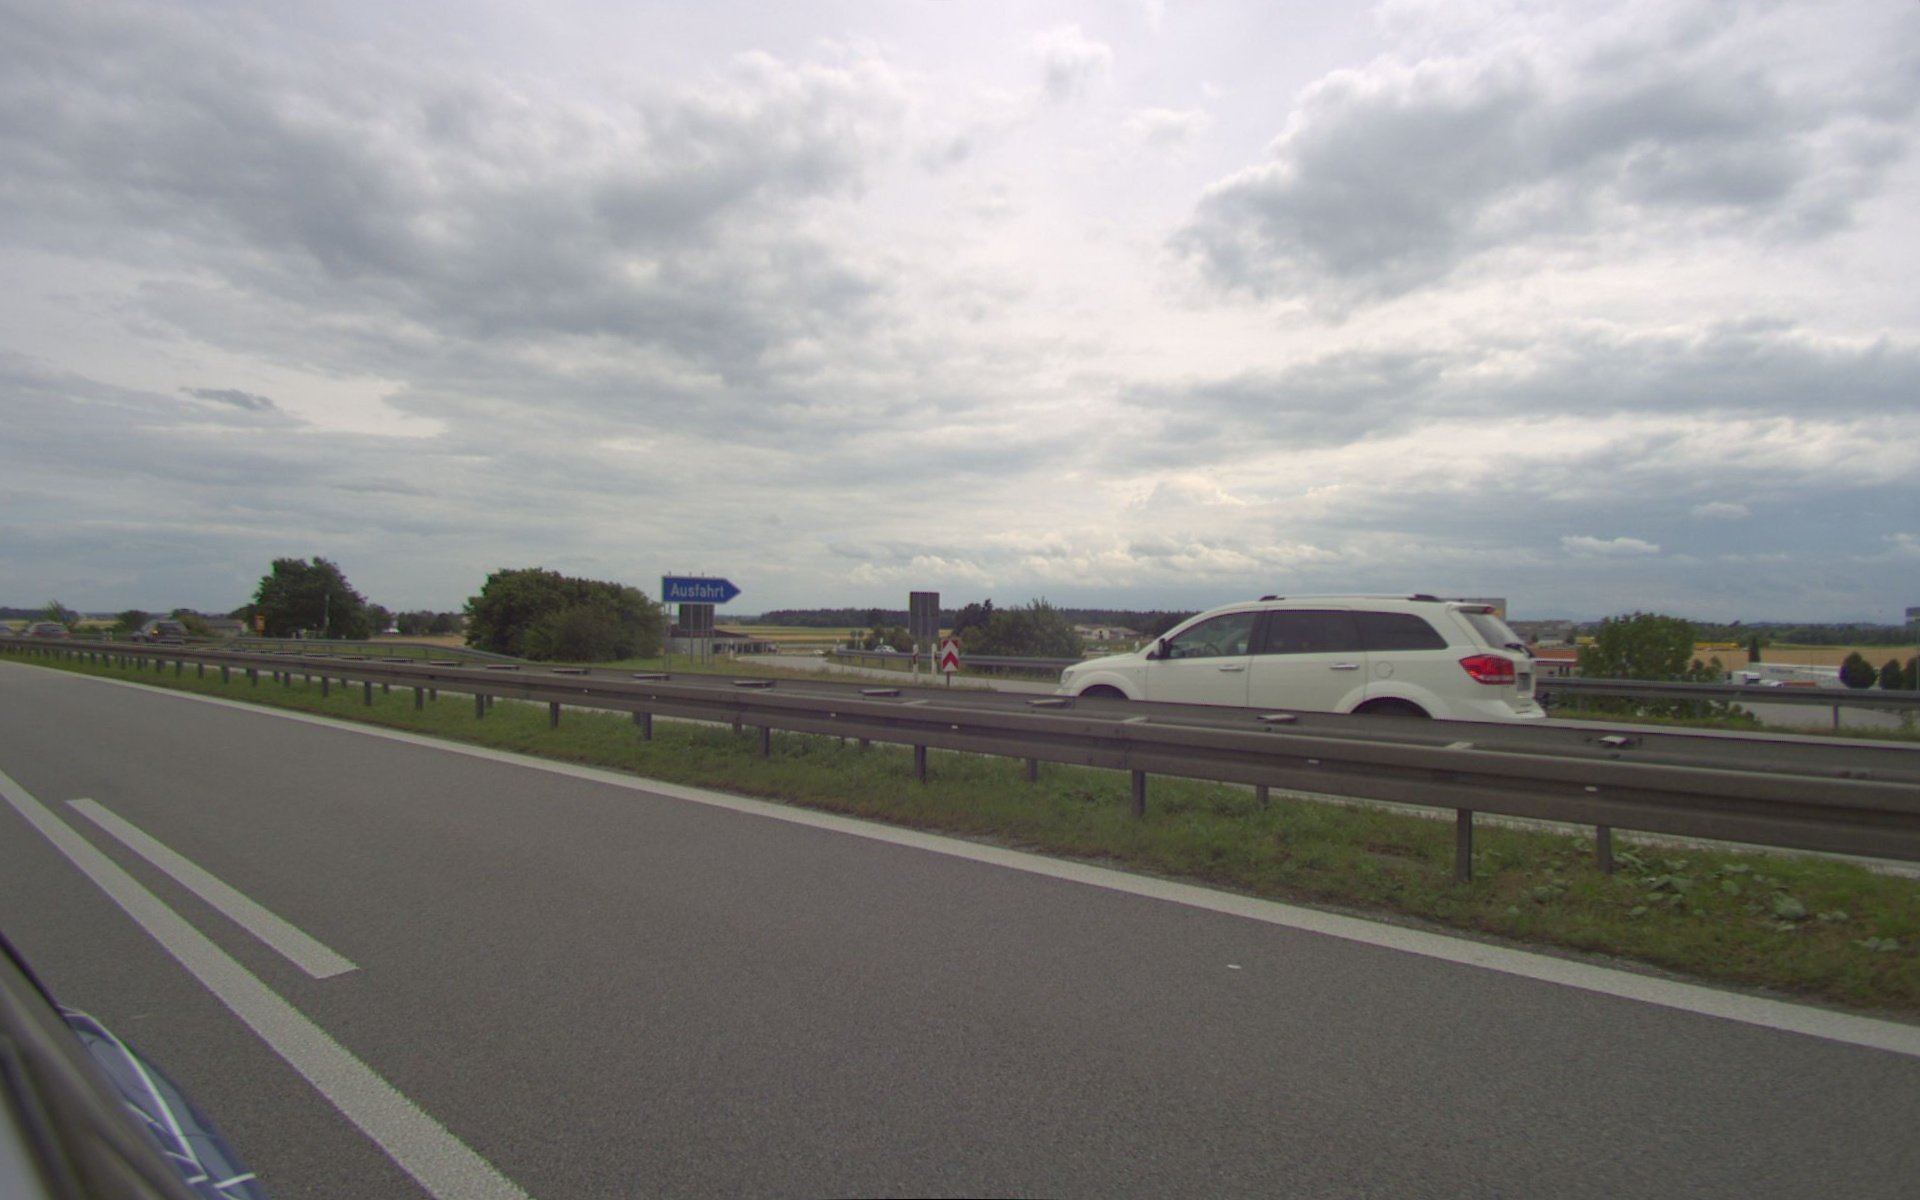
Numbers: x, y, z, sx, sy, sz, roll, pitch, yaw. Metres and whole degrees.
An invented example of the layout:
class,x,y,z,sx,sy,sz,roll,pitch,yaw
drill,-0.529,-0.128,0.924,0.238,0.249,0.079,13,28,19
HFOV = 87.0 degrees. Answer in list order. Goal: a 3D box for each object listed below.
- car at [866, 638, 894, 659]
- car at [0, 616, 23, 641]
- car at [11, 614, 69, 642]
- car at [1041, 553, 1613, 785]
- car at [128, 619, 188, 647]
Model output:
class,x,y,z,sx,sy,sz,roll,pitch,yaw
car,-8.196,4.977,104.401,1.977,2.029,3.989,-1,0,9
car,-67.081,2.027,70.410,4.995,1.600,2.115,-2,1,40
car,-49.037,1.503,53.935,3.997,1.404,1.781,-2,-3,40
car,3.409,0.642,10.092,4.957,1.759,2.049,-2,-4,41
car,-43.065,1.755,54.326,3.997,1.404,1.781,-2,-1,40
